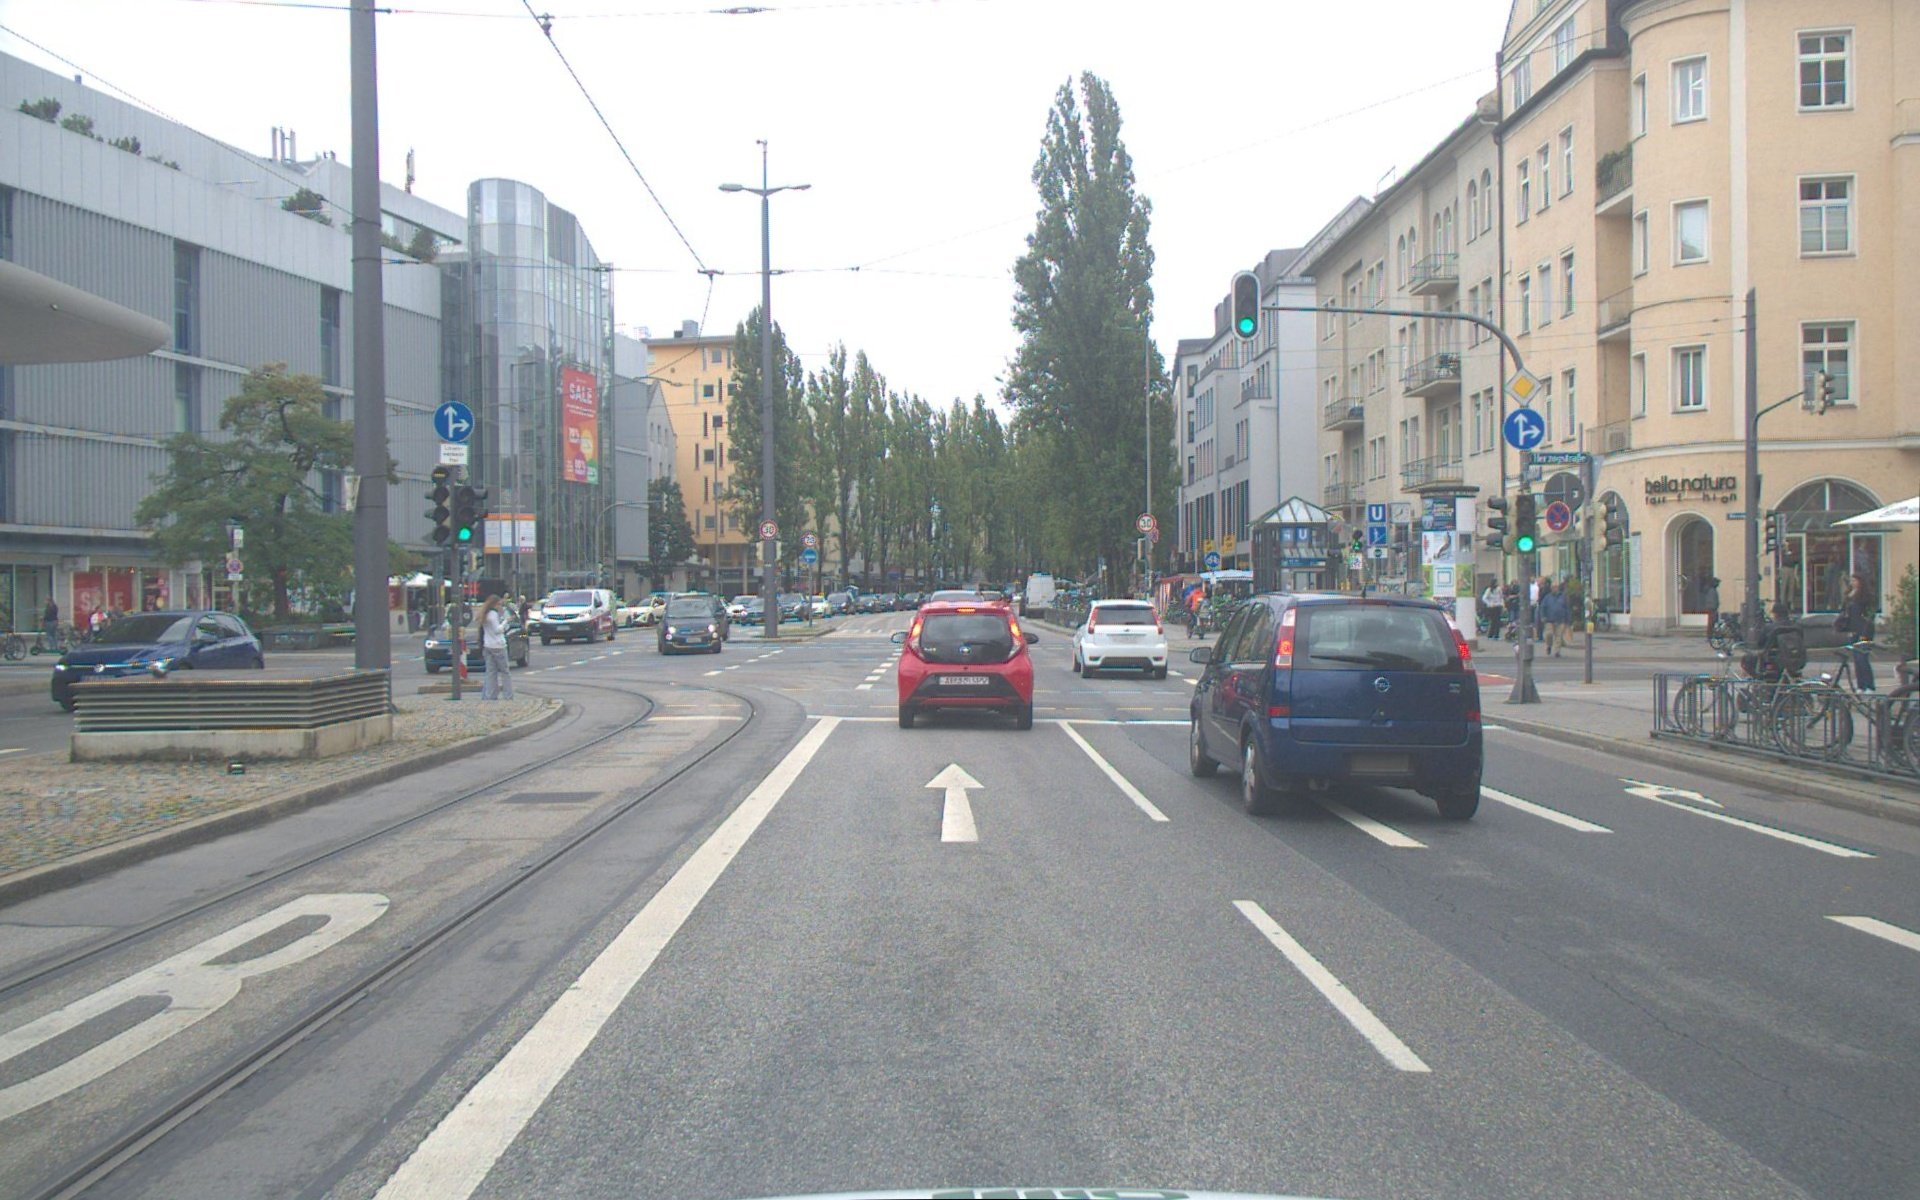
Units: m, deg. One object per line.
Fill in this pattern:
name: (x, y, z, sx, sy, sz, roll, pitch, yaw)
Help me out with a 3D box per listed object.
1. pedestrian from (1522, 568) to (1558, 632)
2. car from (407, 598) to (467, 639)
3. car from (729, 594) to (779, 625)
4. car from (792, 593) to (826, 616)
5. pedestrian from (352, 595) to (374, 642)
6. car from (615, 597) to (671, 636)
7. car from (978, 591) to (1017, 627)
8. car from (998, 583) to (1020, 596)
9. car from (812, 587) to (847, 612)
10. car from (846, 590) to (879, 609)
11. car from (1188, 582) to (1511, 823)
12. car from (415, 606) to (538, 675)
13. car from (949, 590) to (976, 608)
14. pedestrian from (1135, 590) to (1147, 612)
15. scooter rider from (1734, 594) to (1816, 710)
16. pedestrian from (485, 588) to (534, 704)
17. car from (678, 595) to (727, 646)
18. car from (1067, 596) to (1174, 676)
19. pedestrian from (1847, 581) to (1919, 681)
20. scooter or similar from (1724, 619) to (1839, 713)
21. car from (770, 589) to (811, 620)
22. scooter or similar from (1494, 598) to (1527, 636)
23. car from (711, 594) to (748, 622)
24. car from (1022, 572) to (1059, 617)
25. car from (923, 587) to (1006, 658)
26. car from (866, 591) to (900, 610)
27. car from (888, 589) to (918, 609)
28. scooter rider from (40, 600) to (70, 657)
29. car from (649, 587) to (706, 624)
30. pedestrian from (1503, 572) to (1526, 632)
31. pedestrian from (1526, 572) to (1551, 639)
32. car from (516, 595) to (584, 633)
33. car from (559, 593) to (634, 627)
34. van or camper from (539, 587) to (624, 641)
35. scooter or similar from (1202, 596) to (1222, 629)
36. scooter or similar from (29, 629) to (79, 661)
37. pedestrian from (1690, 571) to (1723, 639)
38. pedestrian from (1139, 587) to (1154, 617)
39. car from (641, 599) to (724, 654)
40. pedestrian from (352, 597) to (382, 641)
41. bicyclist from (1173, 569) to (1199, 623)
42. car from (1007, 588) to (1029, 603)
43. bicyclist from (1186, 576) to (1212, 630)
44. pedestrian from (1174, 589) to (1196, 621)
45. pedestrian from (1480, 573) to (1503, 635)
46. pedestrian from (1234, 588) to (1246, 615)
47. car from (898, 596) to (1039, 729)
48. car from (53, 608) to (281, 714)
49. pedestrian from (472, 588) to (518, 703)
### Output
pedestrian: (16.196, 0.000, 46.192, 0.637, 1.734, 0.726, -3, 4, -30)
car: (-21.792, 0.741, 69.024, 1.959, 1.563, 4.400, -2, 1, -13)
car: (-10.804, 0.481, 87.036, 1.953, 1.436, 4.168, 4, 0, 1)
car: (-9.850, 0.278, 108.046, 1.729, 1.446, 4.639, -1, 0, 0)
pedestrian: (-23.135, 0.702, 64.134, 0.739, 1.804, 0.767, -1, 0, -24)
car: (-13.064, 0.652, 68.440, 1.631, 1.535, 4.280, -1, 0, -2)
car: (2.004, 0.467, 90.003, 1.953, 1.870, 3.999, -1, 0, -1)
car: (6.239, -1.350, 210.971, 1.951, 1.721, 4.418, -1, 0, 12)
car: (-9.361, -0.068, 119.074, 1.896, 1.769, 4.590, 0, 0, 4)
car: (-7.660, -0.015, 130.286, 1.805, 1.407, 4.604, 0, -1, 7)
car: (2.899, 0.690, 13.037, 1.668, 1.617, 3.556, 1, 0, 0)
car: (-11.027, 0.888, 38.007, 1.806, 1.441, 4.033, -1, 0, -3)
car: (0.304, -0.089, 169.713, 1.951, 1.758, 3.920, -1, 0, 13)
pedestrian: (12.934, 0.063, 118.223, 0.698, 1.585, 0.676, -1, 0, -1)
scooter rider: (10.144, 0.638, 20.600, 0.686, 1.413, 0.643, -1, 0, -3)
pedestrian: (-6.497, 0.653, 23.849, 0.513, 1.646, 0.461, -1, 0, 43)
car: (-8.147, 0.623, 52.255, 1.476, 1.561, 2.831, -1, 0, -10)
car: (3.082, 0.660, 32.303, 1.665, 1.451, 3.496, -1, 0, -1)
pedestrian: (14.891, 0.487, 26.557, 0.717, 1.567, 0.887, -1, 0, -15)
scooter or similar: (10.189, 0.802, 20.564, 0.760, 1.094, 1.256, -1, 0, -2)
car: (-10.024, 0.249, 98.091, 1.707, 1.699, 4.734, -1, 1, 2)
scooter or similar: (15.135, 0.465, 45.461, 0.803, 1.011, 0.593, 0, 3, 22)
car: (-13.568, 0.465, 97.504, 1.664, 1.624, 3.999, -1, 0, -2)
car: (5.041, -0.349, 103.944, 2.063, 2.766, 4.804, -1, 0, 0)
car: (0.067, 0.528, 41.265, 1.953, 1.646, 3.999, -1, 0, -1)
car: (-6.402, 0.014, 138.415, 1.951, 1.561, 4.591, -1, 0, 9)
car: (-5.048, -0.076, 148.007, 1.951, 1.721, 4.925, -1, 0, 7)
scooter rider: (-29.801, 0.930, 54.470, 0.653, 1.867, 0.619, -1, 0, -8)
car: (-16.159, 0.306, 94.813, 1.952, 2.049, 5.525, -1, 0, 4)
pedestrian: (15.540, 0.061, 46.374, 0.548, 1.637, 0.568, -1, 3, 12)
pedestrian: (15.806, 0.152, 45.181, 0.635, 1.781, 0.637, 0, 3, 22)
car: (-18.100, 0.591, 73.250, 1.862, 1.570, 4.393, -1, 1, 0)
car: (-17.536, 0.463, 79.987, 1.951, 1.534, 4.639, -1, 0, 9)
van or camper: (-13.560, 0.471, 59.589, 1.889, 1.858, 5.439, -1, 0, -1)
scooter or similar: (9.361, 0.468, 61.352, 0.294, 1.196, 1.275, -1, 0, 29)
scooter or similar: (-29.817, 1.473, 54.427, 1.373, 0.999, 0.414, -1, 0, -8)
pedestrian: (19.411, 0.131, 43.011, 0.666, 1.714, 0.747, -1, 3, 15)
pedestrian: (10.981, 0.110, 97.185, 0.774, 1.758, 0.764, -1, 0, -1)
car: (-7.810, 0.721, 46.431, 1.525, 1.471, 3.514, 0, 0, -23)
pedestrian: (-22.578, 0.721, 62.995, 0.754, 1.683, 0.752, -1, 0, 10)
bicyclist: (8.088, -0.157, 59.165, 0.747, 1.902, 1.133, -1, 0, 0)
car: (7.187, -0.574, 204.995, 1.951, 1.721, 4.418, -1, 0, 12)
bicyclist: (7.634, 0.099, 52.853, 0.601, 1.686, 1.251, -1, 0, 0)
pedestrian: (10.794, 0.233, 79.390, 0.794, 1.549, 0.798, -1, 0, -12)
pedestrian: (14.869, 0.114, 46.253, 0.554, 1.699, 0.562, 0, 3, 22)
pedestrian: (15.239, 0.090, 89.946, 0.563, 1.427, 0.580, -1, 0, -1)
car: (0.110, 0.706, 20.311, 1.572, 1.487, 3.130, 1, 0, 0)
car: (-12.244, 0.884, 25.842, 1.644, 1.420, 4.230, -2, 0, -3)
pedestrian: (-6.785, 0.647, 24.124, 0.482, 1.646, 0.551, -1, 0, -35)
